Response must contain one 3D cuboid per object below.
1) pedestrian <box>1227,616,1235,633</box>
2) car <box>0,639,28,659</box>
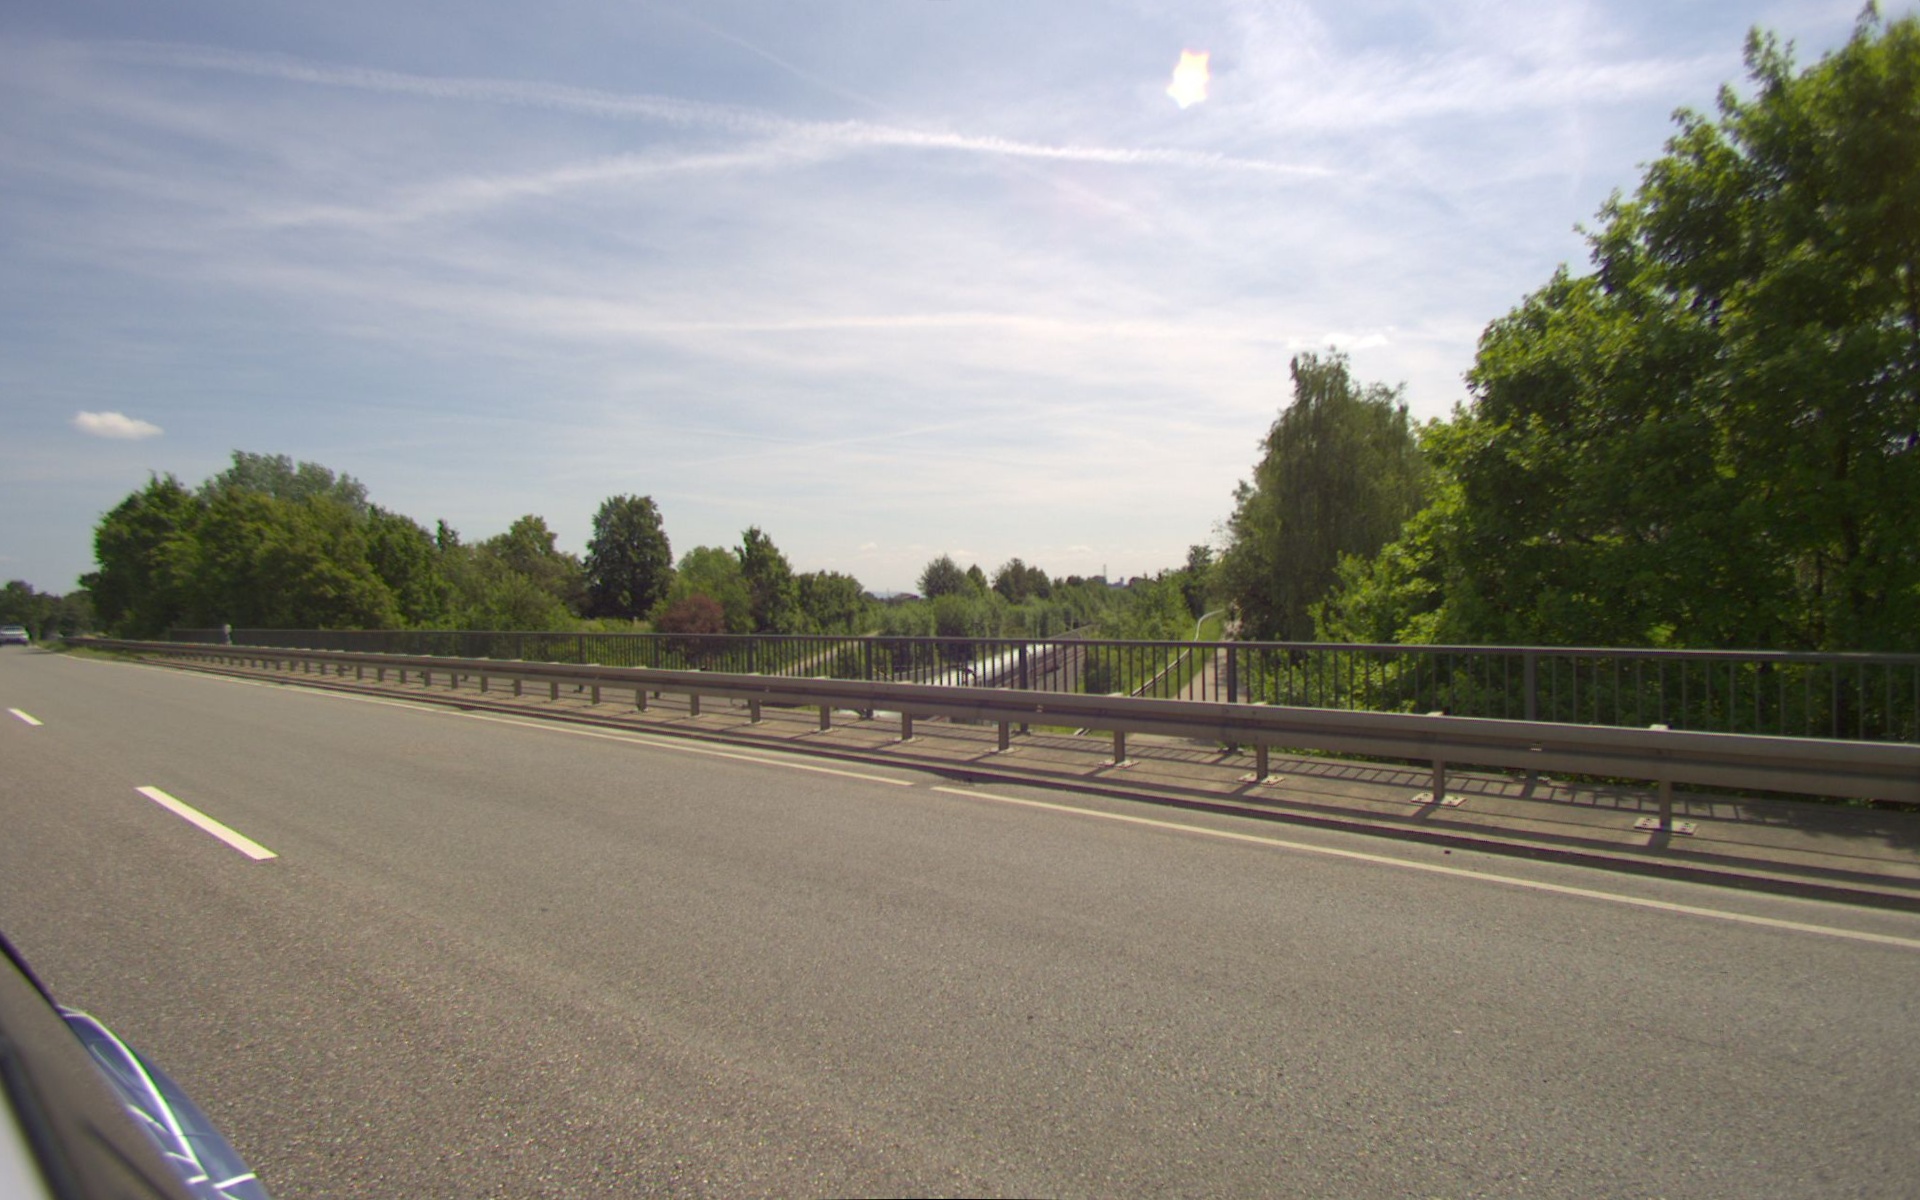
[{"bbox_3d":[27.284,2.471,101.933,0.696,1.652,0.802,-1,0,16],"label":"pedestrian"},{"bbox_3d":[-73.525,3.775,78.337,1.856,1.523,4.550,0,-2,-40],"label":"car"}]
